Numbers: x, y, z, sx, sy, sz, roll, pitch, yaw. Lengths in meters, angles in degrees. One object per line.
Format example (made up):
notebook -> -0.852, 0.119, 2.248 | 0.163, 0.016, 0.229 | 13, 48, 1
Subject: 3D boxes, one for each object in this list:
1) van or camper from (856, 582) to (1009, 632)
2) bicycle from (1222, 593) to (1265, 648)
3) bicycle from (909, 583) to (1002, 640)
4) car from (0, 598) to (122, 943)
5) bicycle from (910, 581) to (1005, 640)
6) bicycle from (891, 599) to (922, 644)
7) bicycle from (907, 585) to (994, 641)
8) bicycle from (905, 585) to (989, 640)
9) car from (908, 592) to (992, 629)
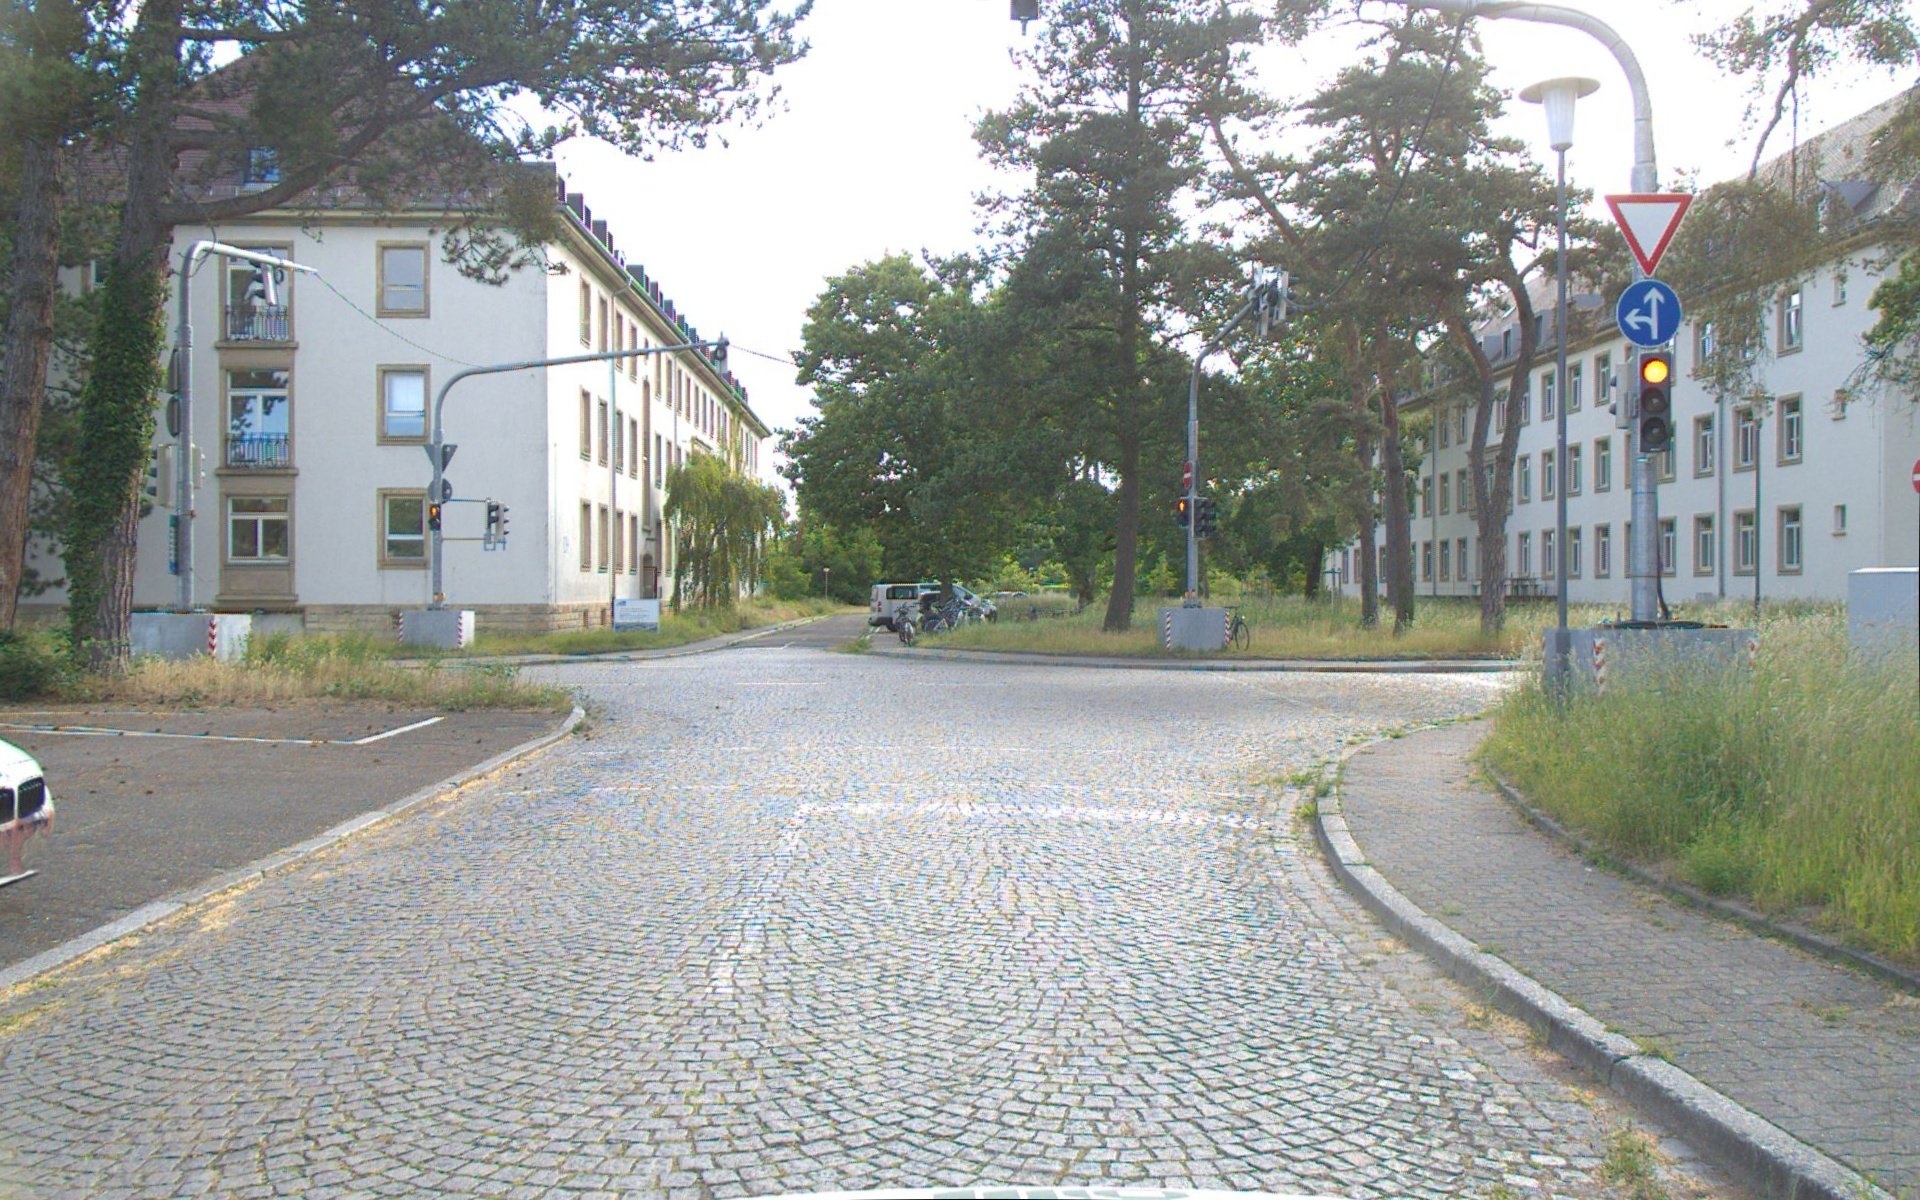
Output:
van or camper -> -1.119, 0.263, 67.315 | 5.933, 1.983, 1.992 | 0, 0, -16
bicycle -> 6.455, 0.460, 37.781 | 0.708, 1.189, 2.738 | 2, 0, 5
bicycle -> -0.151, 0.336, 50.566 | 2.724, 1.724, 1.118 | 0, 0, -9
car -> -6.335, 0.663, 7.162 | 4.391, 1.467, 1.828 | 2, 0, -5
bicycle -> -0.092, 0.313, 49.374 | 2.723, 1.724, 1.118 | 0, 0, -7
bicycle -> -1.442, 0.569, 45.050 | 0.711, 1.127, 2.462 | -4, 0, 0
bicycle -> -0.304, 0.421, 54.128 | 2.718, 1.723, 1.120 | 2, 0, 2
bicycle -> -0.423, 0.401, 55.462 | 2.719, 1.723, 1.120 | 2, 0, -1
car -> -0.403, 0.397, 63.760 | 3.078, 1.378, 1.617 | 0, 0, -8
